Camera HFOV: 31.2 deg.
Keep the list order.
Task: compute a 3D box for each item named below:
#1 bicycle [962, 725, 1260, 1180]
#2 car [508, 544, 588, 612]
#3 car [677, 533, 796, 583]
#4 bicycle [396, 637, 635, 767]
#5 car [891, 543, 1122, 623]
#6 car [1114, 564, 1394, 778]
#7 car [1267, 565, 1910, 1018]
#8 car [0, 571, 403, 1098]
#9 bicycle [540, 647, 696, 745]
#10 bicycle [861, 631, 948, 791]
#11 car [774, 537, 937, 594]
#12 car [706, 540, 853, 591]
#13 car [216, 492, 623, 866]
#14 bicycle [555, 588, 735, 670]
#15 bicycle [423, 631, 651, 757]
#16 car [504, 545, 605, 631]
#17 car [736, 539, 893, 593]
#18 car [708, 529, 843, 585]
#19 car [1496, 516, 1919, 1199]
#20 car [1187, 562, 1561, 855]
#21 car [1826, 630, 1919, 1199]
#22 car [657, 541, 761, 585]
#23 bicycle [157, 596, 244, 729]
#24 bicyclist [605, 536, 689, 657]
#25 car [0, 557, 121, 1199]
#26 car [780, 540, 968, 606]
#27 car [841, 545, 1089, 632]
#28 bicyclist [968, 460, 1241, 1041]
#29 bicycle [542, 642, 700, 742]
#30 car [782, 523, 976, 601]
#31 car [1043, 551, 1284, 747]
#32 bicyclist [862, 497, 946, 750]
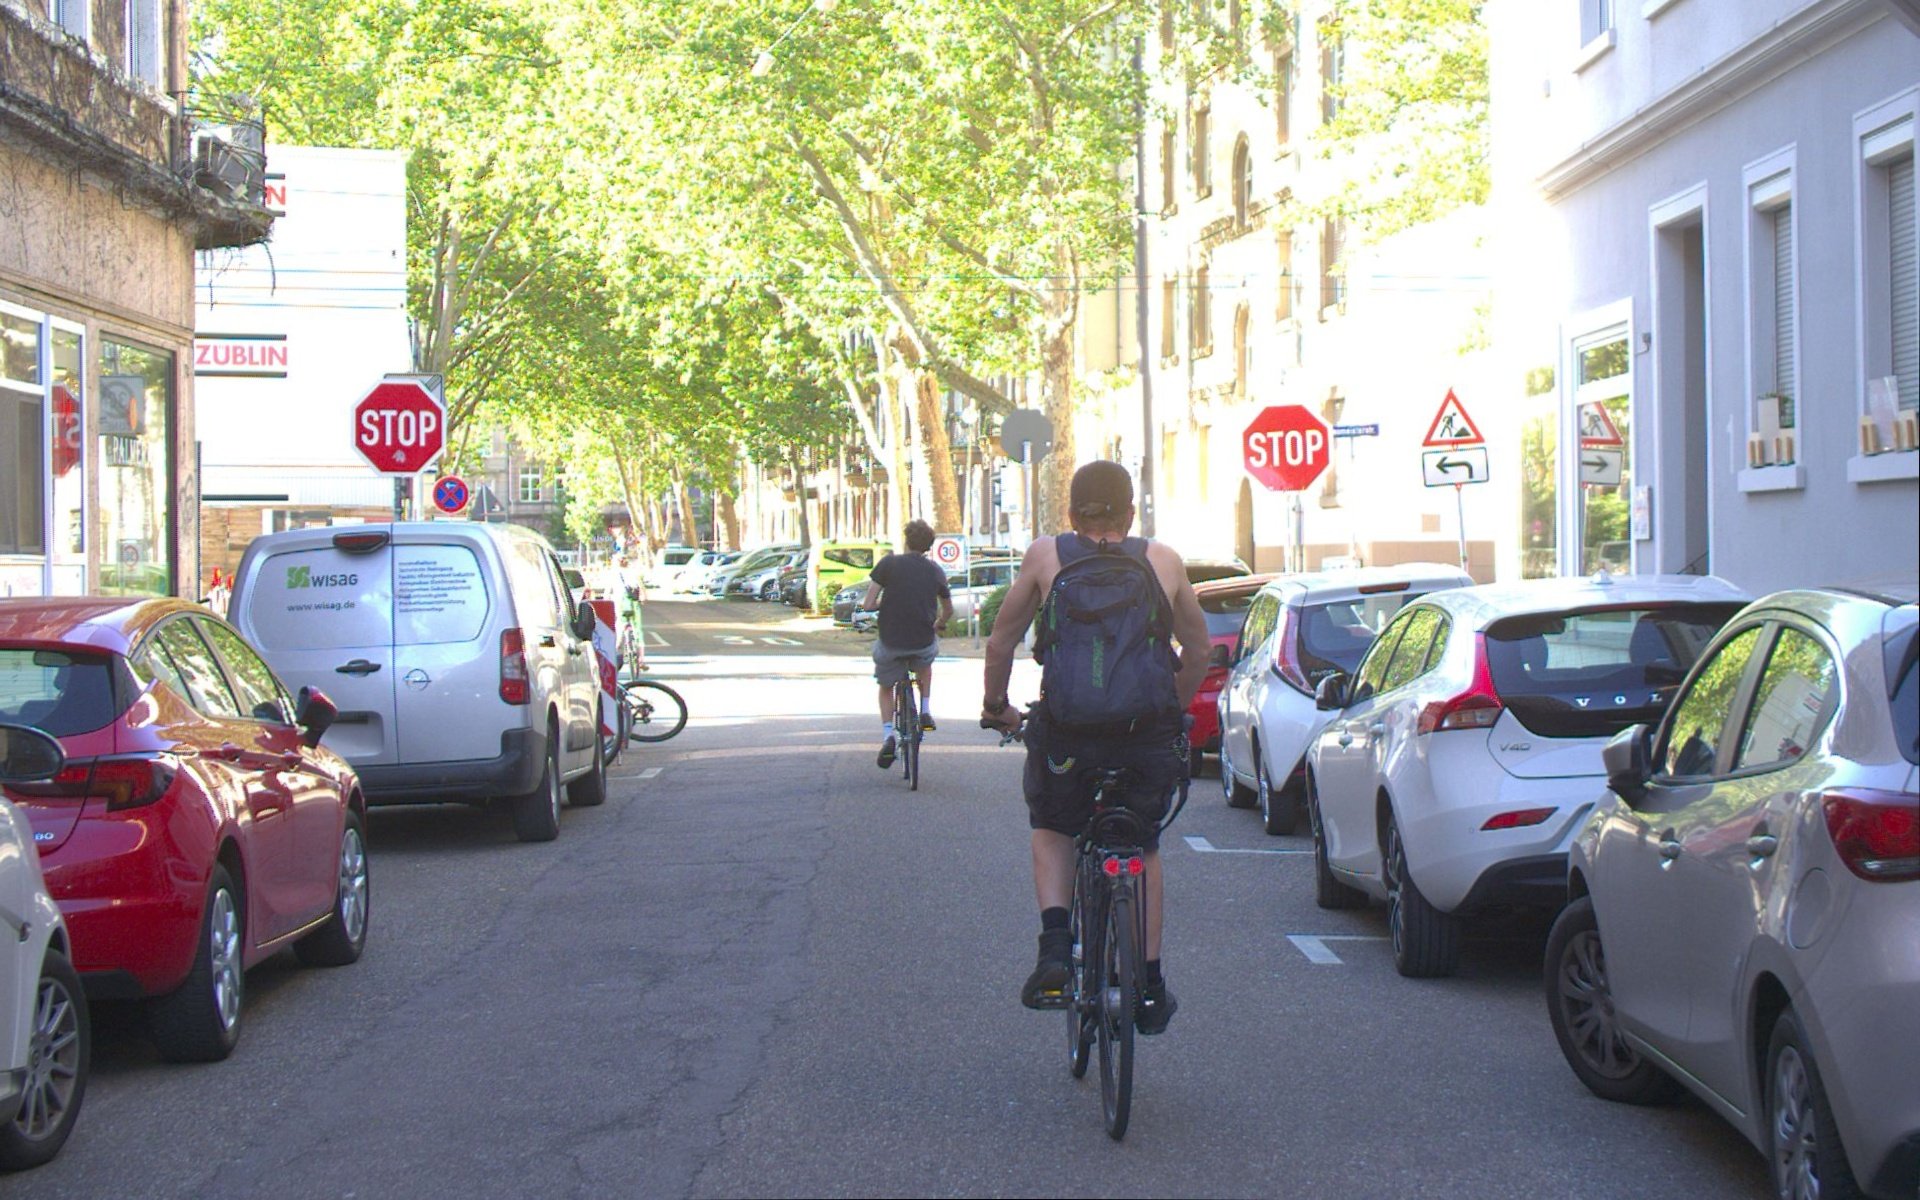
[{"bbox_3d":[0.372,0.902,9.418,0.689,1.013,1.907,1,1,-1],"label":"bicycle"},{"bbox_3d":[-9.688,-0.538,80.684,1.665,1.557,4.001,-1,1,-9],"label":"car"},{"bbox_3d":[-8.687,-1.646,133.302,4.460,1.891,1.729,-1,1,-8],"label":"car"},{"bbox_3d":[-3.379,0.773,26.186,1.764,0.958,0.405,-1,1,-2],"label":"bicycle"},{"bbox_3d":[0.931,-0.354,69.844,4.460,1.565,1.729,-1,1,-8],"label":"car"},{"bbox_3d":[2.211,0.490,26.760,1.645,1.498,3.955,1,1,-3],"label":"car"},{"bbox_3d":[2.343,0.639,13.877,1.679,1.505,4.190,1,1,-2],"label":"car"},{"bbox_3d":[-3.073,0.678,11.965,1.679,1.468,4.203,-2,1,-2],"label":"car"},{"bbox_3d":[-2.963,0.826,29.731,1.308,0.815,0.371,-1,1,-10],"label":"bicycle"},{"bbox_3d":[-0.386,0.732,23.228,0.551,1.013,1.628,0,0,-2],"label":"bicycle"},{"bbox_3d":[-3.002,-0.992,98.078,4.460,1.565,1.729,-1,1,-8],"label":"car"},{"bbox_3d":[-5.688,-1.087,108.267,4.460,1.565,1.729,-1,1,-8],"label":"car"},{"bbox_3d":[-3.107,0.390,20.621,1.679,1.903,4.519,-3,1,-1],"label":"car"},{"bbox_3d":[-4.325,0.391,47.093,2.422,1.089,0.896,0,0,-7],"label":"bicycle"},{"bbox_3d":[-3.394,0.748,27.571,1.764,0.958,0.481,-1,1,-13],"label":"bicycle"},{"bbox_3d":[-7.676,-0.255,64.823,1.643,1.489,4.001,-3,1,-9],"label":"car"},{"bbox_3d":[-4.296,-1.011,101.142,4.460,1.565,1.729,-1,1,-8],"label":"car"},{"bbox_3d":[-6.344,-1.481,117.900,4.460,1.891,1.729,-1,1,-8],"label":"car"},{"bbox_3d":[2.465,0.627,8.491,1.679,1.592,4.190,1,1,1],"label":"car"},{"bbox_3d":[2.426,0.584,21.002,1.636,1.581,3.789,1,1,-3],"label":"car"},{"bbox_3d":[2.375,0.794,3.410,1.767,1.390,4.495,1,1,-2],"label":"car"},{"bbox_3d":[-11.150,-1.659,152.450,4.460,1.891,1.729,-1,1,-8],"label":"car"},{"bbox_3d":[-6.441,0.514,29.193,0.397,1.088,1.591,-1,0,-1],"label":"bicycle"},{"bbox_3d":[-4.296,-0.046,47.102,1.096,1.634,0.896,0,0,-7],"label":"bicyclist"},{"bbox_3d":[-3.019,0.698,7.803,1.679,1.544,2.960,-2,1,-5],"label":"car"},{"bbox_3d":[-2.136,-0.674,84.738,4.460,1.565,1.729,-1,1,-8],"label":"car"},{"bbox_3d":[0.083,-0.230,64.869,4.460,1.565,1.729,-1,1,-8],"label":"car"},{"bbox_3d":[0.378,0.390,9.328,0.676,1.508,0.669,1,1,-1],"label":"bicyclist"},{"bbox_3d":[-2.897,0.783,29.355,1.308,0.815,0.355,-1,1,-10],"label":"bicycle"},{"bbox_3d":[-1.957,-0.923,82.724,4.460,1.830,1.729,-1,1,-9],"label":"car"},{"bbox_3d":[1.802,0.394,31.681,1.760,1.656,4.198,1,1,-3],"label":"car"},{"bbox_3d":[-0.380,0.155,23.183,0.542,1.682,0.653,0,0,-2],"label":"bicyclist"}]
